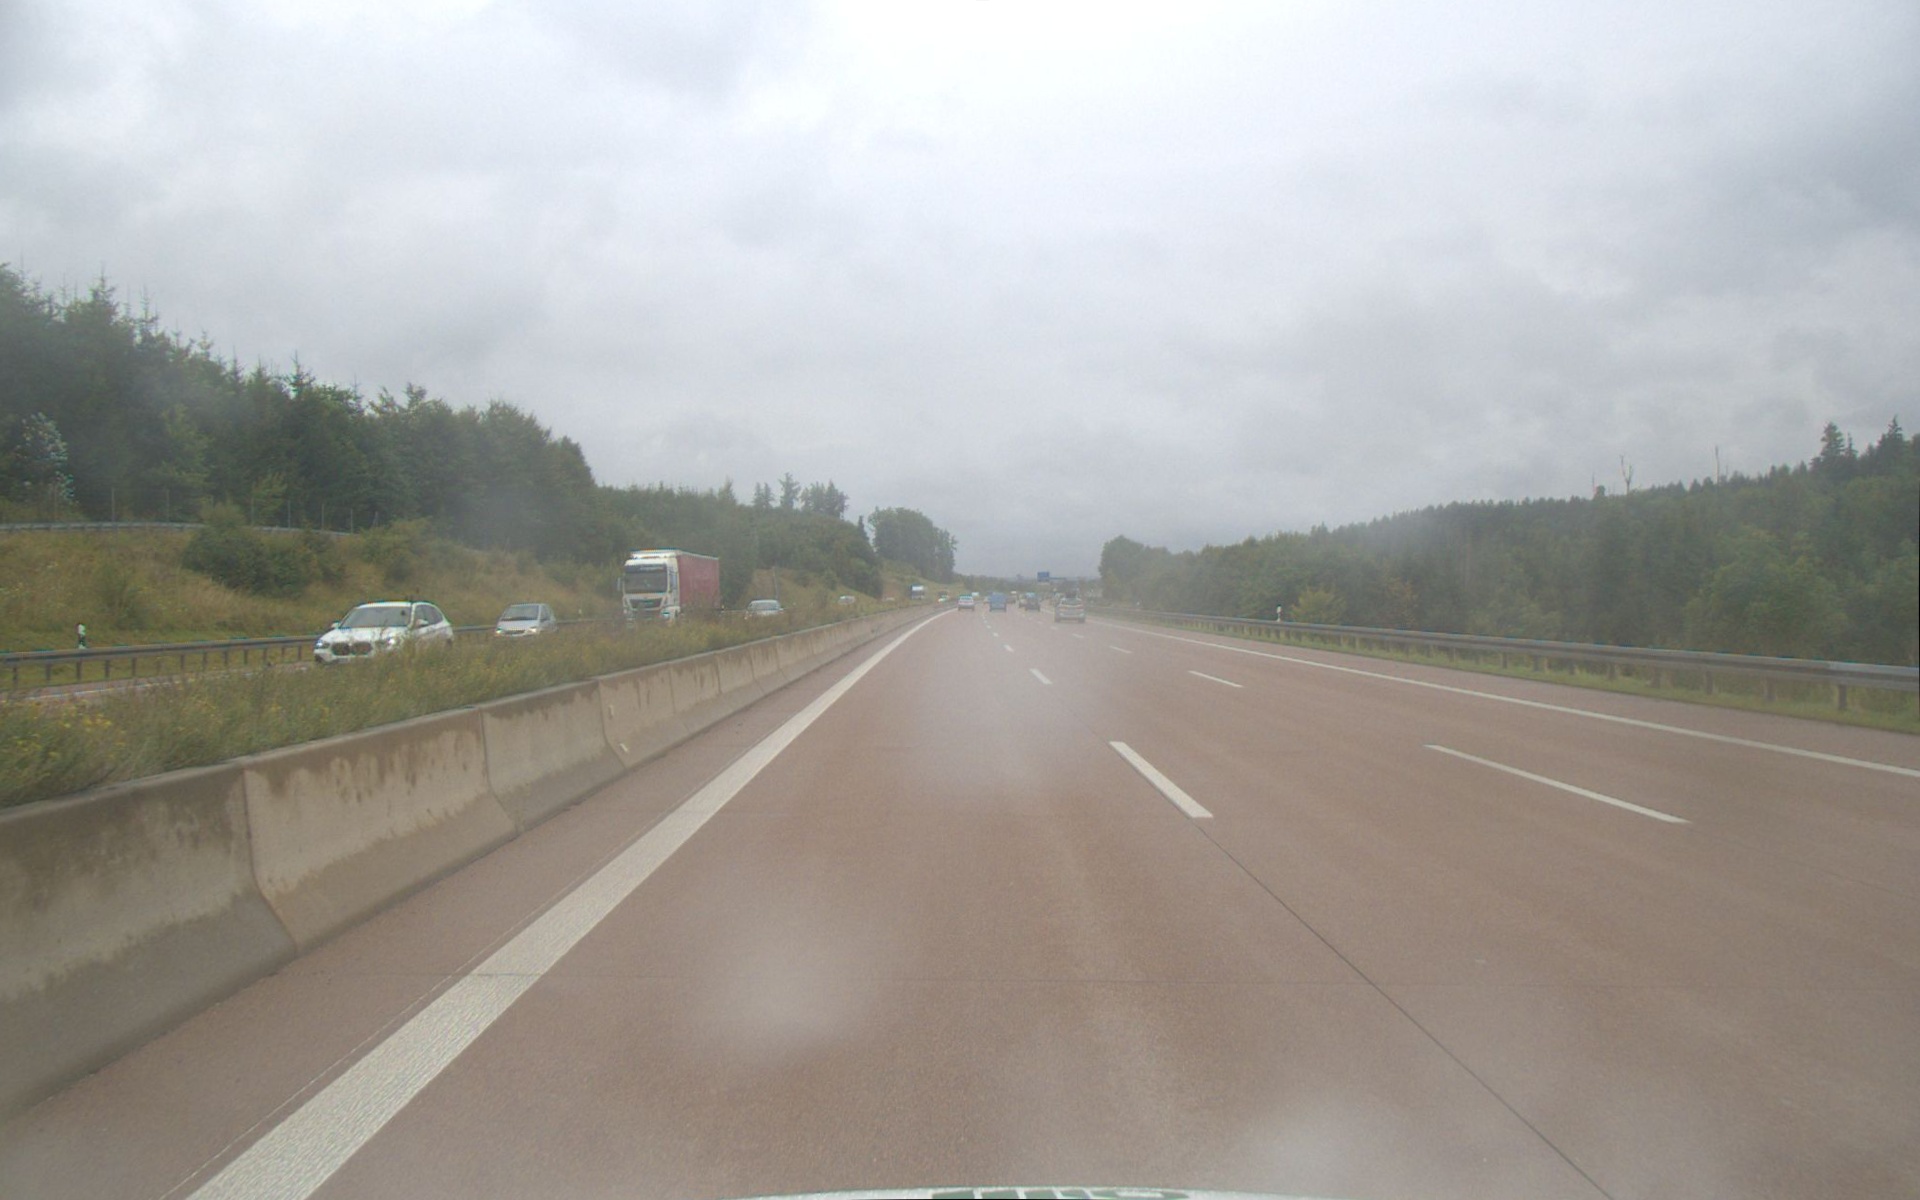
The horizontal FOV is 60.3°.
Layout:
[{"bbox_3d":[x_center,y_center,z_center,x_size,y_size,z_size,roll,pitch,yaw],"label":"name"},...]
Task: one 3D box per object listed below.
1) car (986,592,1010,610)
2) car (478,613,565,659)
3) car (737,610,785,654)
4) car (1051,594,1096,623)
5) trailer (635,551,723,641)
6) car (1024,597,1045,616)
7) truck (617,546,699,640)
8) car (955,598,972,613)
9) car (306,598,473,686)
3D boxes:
[{"bbox_3d":[4.139,0.105,180.820,2.276,1.780,4.873,1,-1,-3],"label":"car"},{"bbox_3d":[-15.819,1.292,59.882,1.953,1.603,4.523,0,-1,-1],"label":"car"},{"bbox_3d":[-8.578,1.362,71.517,1.668,1.816,4.411,1,-1,-2],"label":"car"},{"bbox_3d":[7.239,0.571,105.617,2.276,1.780,4.873,1,-1,-3],"label":"car"},{"bbox_3d":[-15.410,-0.104,91.643,2.881,4.567,11.772,1,-1,0],"label":"trailer"},{"bbox_3d":[8.569,0.759,190.081,1.954,2.049,3.997,1,-1,-3],"label":"car"},{"bbox_3d":[-15.325,-0.280,84.340,2.890,4.556,6.790,1,-1,-1],"label":"truck"},{"bbox_3d":[0.383,0.605,180.829,1.835,1.470,4.876,1,-1,0],"label":"car"},{"bbox_3d":[-11.933,0.878,34.958,1.826,1.695,4.708,1,-1,0],"label":"car"}]
